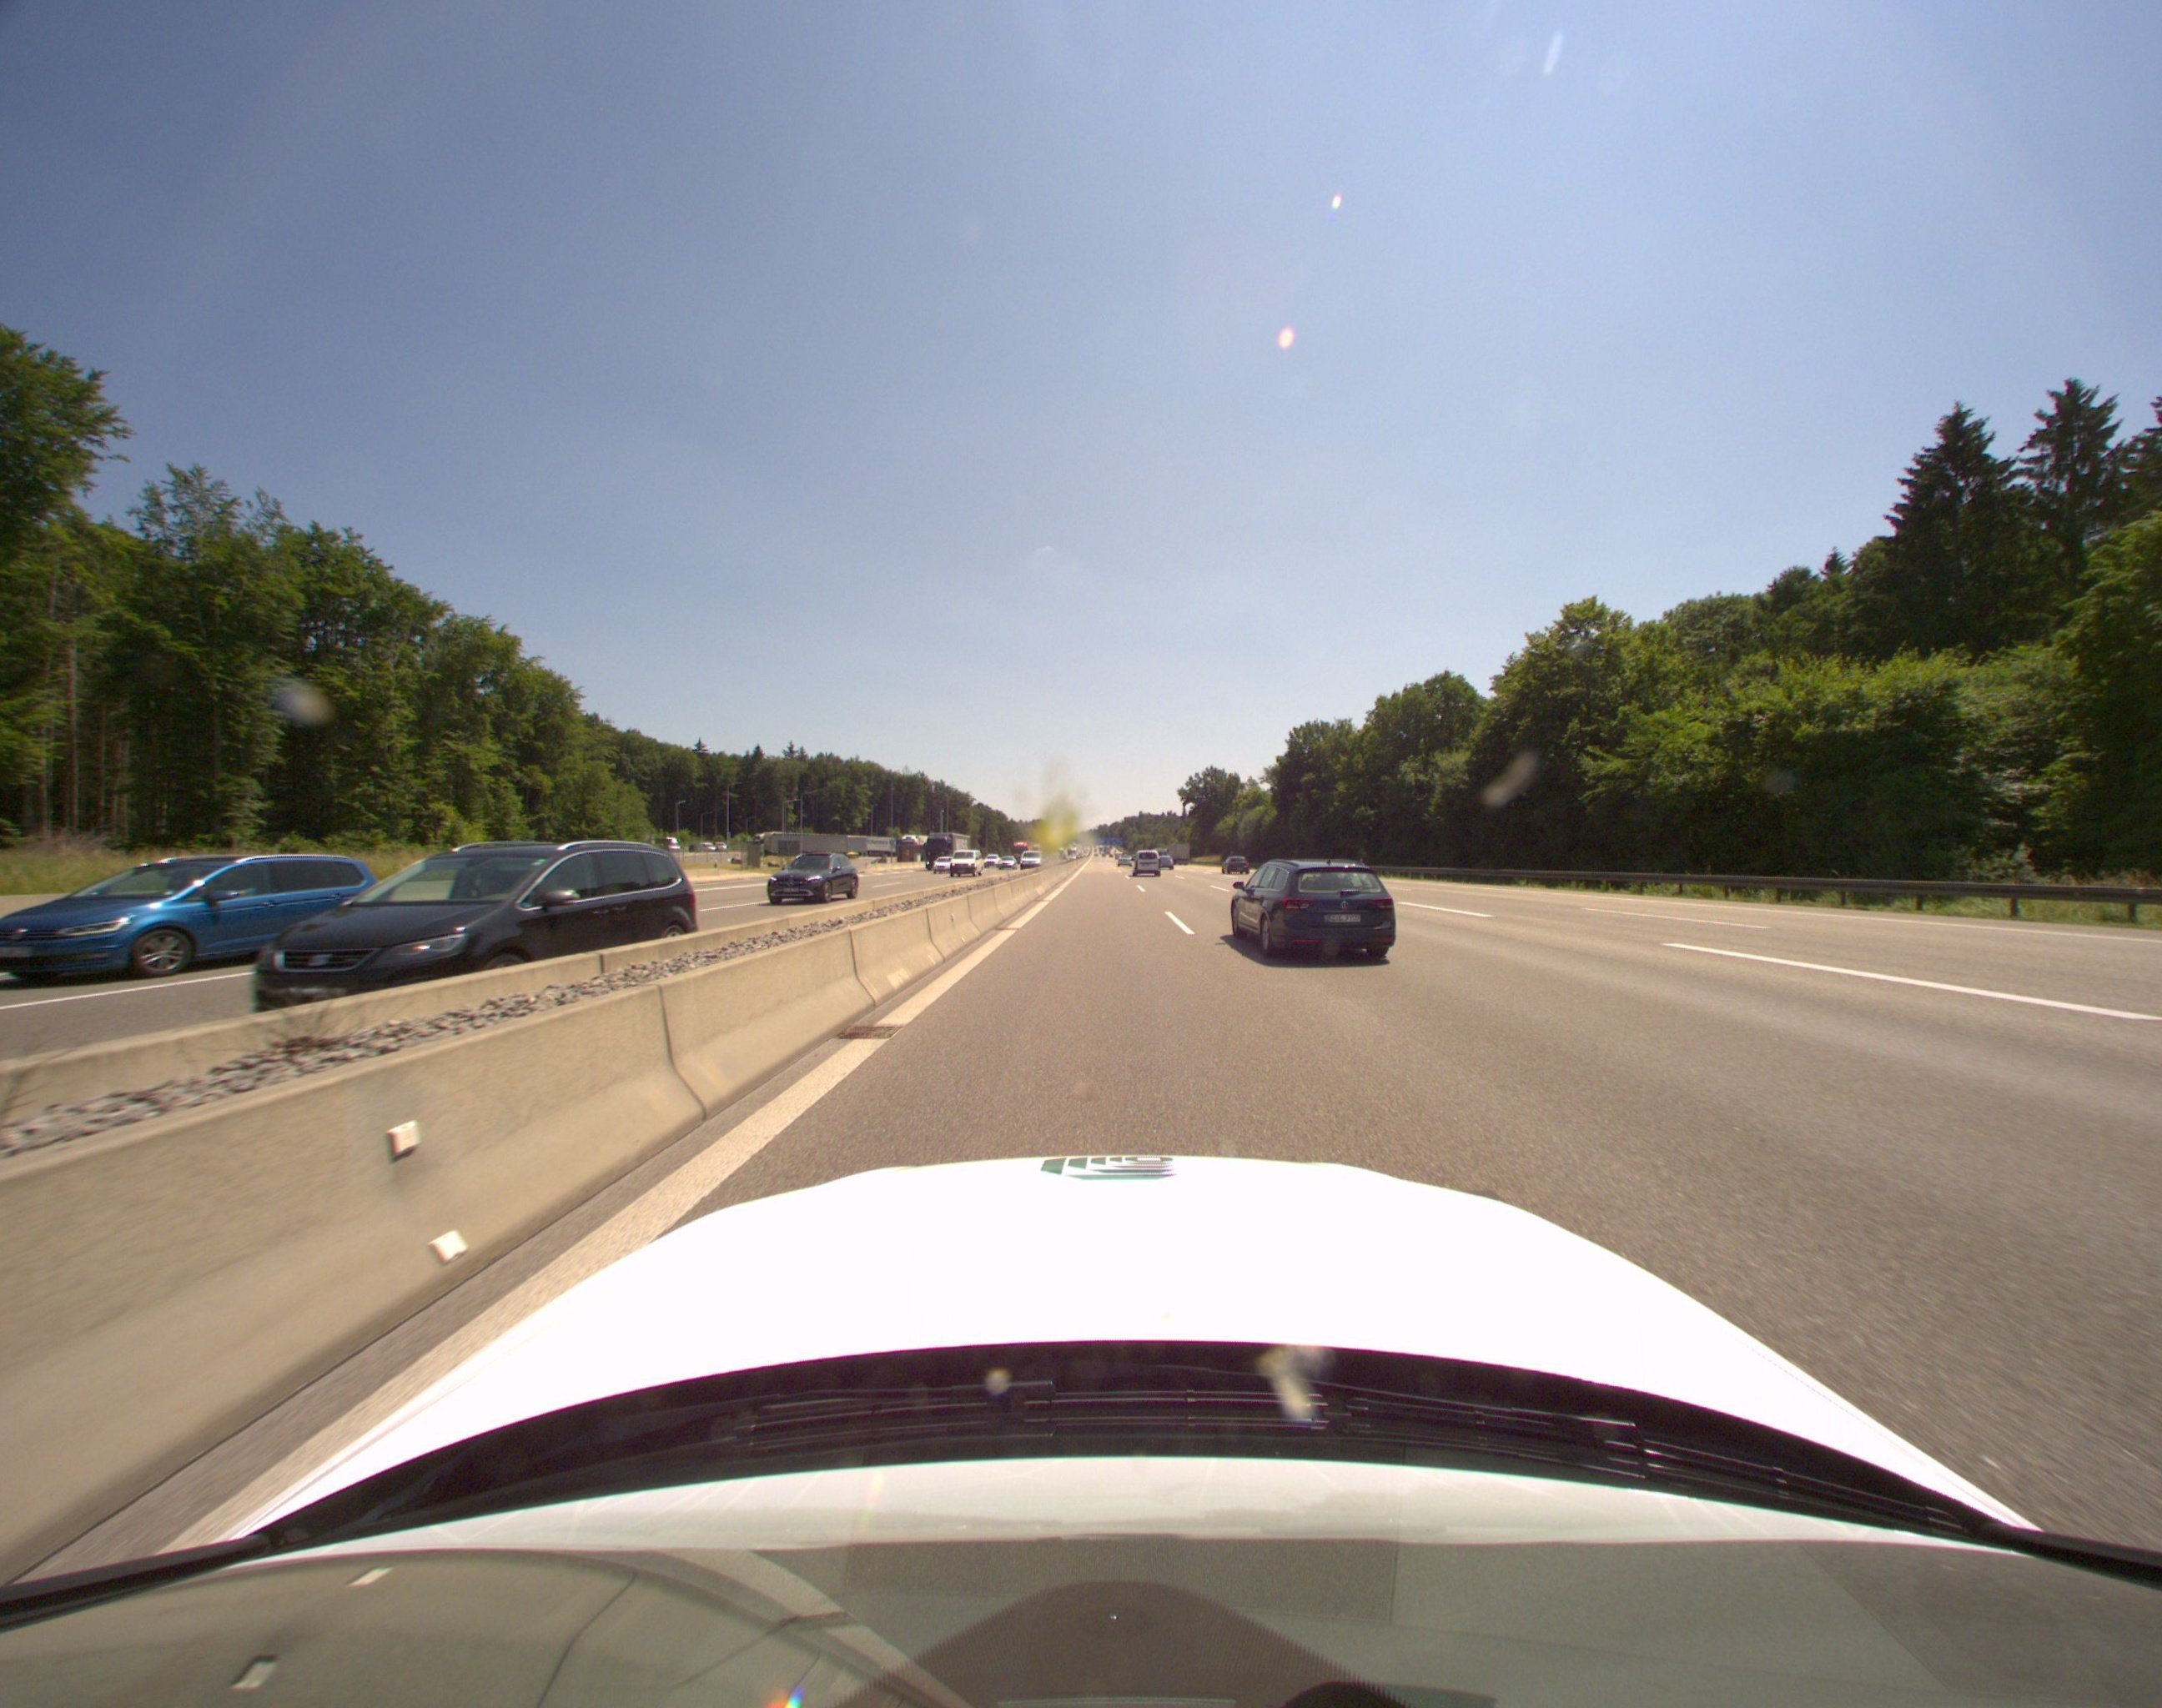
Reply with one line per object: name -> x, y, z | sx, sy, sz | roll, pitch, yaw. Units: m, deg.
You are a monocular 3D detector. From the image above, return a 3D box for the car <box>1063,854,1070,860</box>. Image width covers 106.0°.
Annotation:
car -> -4.691, 1.027, 256.281 | 1.986, 1.774, 5.924 | 0, 0, 1

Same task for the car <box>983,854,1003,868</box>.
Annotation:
car -> -11.284, 0.907, 104.564 | 1.986, 1.670, 4.613 | 0, 0, 1

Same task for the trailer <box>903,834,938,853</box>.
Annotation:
trailer -> -27.956, -1.697, 142.330 | 2.961, 3.124, 14.611 | 0, 0, 1

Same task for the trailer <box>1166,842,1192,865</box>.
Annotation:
trailer -> 18.491, -0.199, 154.888 | 3.277, 3.930, 13.891 | 2, 1, 0

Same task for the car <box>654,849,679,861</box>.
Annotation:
car -> -70.052, 0.121, 137.660 | 3.948, 2.013, 2.013 | 0, 0, 34

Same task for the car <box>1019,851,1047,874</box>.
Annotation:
car -> -4.322, 0.763, 74.329 | 2.069, 2.044, 5.712 | 0, 0, 1

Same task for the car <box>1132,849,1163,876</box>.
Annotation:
car -> 4.635, 0.600, 57.530 | 1.854, 1.826, 4.611 | 0, 0, 0

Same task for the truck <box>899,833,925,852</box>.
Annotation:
truck -> -28.091, -1.868, 135.332 | 2.916, 3.124, 6.203 | 0, 0, 1

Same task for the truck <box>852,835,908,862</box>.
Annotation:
truck -> -42.717, -1.133, 173.735 | 11.604, 5.613, 3.188 | 1, 0, -45

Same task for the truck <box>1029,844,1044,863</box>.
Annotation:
truck -> -9.504, -0.143, 175.785 | 2.725, 4.031, 6.782 | 0, 0, 1

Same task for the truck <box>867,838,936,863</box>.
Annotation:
truck -> -42.427, -0.782, 193.408 | 16.806, 5.613, 3.408 | 1, 0, -44

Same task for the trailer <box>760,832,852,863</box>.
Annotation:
trailer -> -45.783, -1.023, 136.403 | 14.650, 5.072, 3.091 | 1, 0, -45

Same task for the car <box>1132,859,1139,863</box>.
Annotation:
car -> 15.639, 1.981, 233.322 | 1.829, 1.338, 3.643 | 0, 0, 1

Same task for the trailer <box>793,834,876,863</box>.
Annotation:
trailer -> -44.472, -0.973, 147.646 | 14.650, 5.072, 3.184 | 1, 0, -45

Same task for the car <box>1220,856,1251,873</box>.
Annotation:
car -> 12.402, 0.807, 65.563 | 1.665, 1.273, 4.290 | 1, 0, 1

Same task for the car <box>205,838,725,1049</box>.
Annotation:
car -> -6.064, 0.723, 9.077 | 1.843, 1.677, 5.046 | -1, 0, 2

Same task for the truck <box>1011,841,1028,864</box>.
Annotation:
truck -> -11.069, -0.315, 147.977 | 2.519, 4.049, 6.473 | 0, 0, 1

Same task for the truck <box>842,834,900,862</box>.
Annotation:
truck -> -43.230, -1.158, 168.228 | 11.604, 5.613, 3.188 | 1, 0, -45

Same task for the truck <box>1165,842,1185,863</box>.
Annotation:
truck -> 18.528, -0.345, 161.181 | 3.243, 4.106, 5.988 | 2, 1, 1

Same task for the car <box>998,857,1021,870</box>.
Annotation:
car -> -7.942, 1.058, 90.825 | 1.986, 1.377, 5.012 | 0, 0, 2

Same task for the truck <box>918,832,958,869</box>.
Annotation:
truck -> -15.526, -0.391, 88.785 | 3.276, 3.930, 5.540 | 0, 0, 1

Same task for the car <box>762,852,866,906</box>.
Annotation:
car -> -9.066, 0.785, 28.142 | 1.821, 1.699, 5.005 | -1, 0, 2

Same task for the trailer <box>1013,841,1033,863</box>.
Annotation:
trailer -> -10.918, -0.397, 154.996 | 2.562, 4.050, 14.183 | 0, 0, 1

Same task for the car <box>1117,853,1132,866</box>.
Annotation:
car -> 5.660, 0.746, 106.587 | 1.836, 1.629, 4.554 | 0, 0, 1

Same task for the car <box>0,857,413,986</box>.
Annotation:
car -> -13.010, 0.846, 12.389 | 1.723, 1.570, 4.674 | -1, 0, 2

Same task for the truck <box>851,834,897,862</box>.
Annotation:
truck -> -41.797, -1.171, 164.871 | 8.537, 5.613, 3.188 | 1, 0, -45

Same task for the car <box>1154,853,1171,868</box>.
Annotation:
car -> 8.580, 0.660, 85.956 | 1.498, 1.500, 3.650 | 0, 0, 1

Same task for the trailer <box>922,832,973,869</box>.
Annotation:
trailer -> -15.453, -0.402, 95.620 | 3.330, 4.001, 14.280 | 0, 0, 1

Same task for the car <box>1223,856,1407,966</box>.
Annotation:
car -> 3.578, 0.769, 13.422 | 1.723, 1.447, 4.963 | -1, 0, 2

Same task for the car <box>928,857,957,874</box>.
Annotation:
car -> -12.217, 0.981, 71.911 | 1.798, 1.486, 3.811 | 0, -1, 1

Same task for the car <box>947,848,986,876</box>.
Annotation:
car -> -8.511, 0.595, 60.989 | 1.986, 2.014, 5.131 | 0, 0, 2

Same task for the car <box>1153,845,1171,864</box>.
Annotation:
car -> 11.808, 0.053, 119.633 | 2.136, 2.652, 5.711 | 1, 1, 1
